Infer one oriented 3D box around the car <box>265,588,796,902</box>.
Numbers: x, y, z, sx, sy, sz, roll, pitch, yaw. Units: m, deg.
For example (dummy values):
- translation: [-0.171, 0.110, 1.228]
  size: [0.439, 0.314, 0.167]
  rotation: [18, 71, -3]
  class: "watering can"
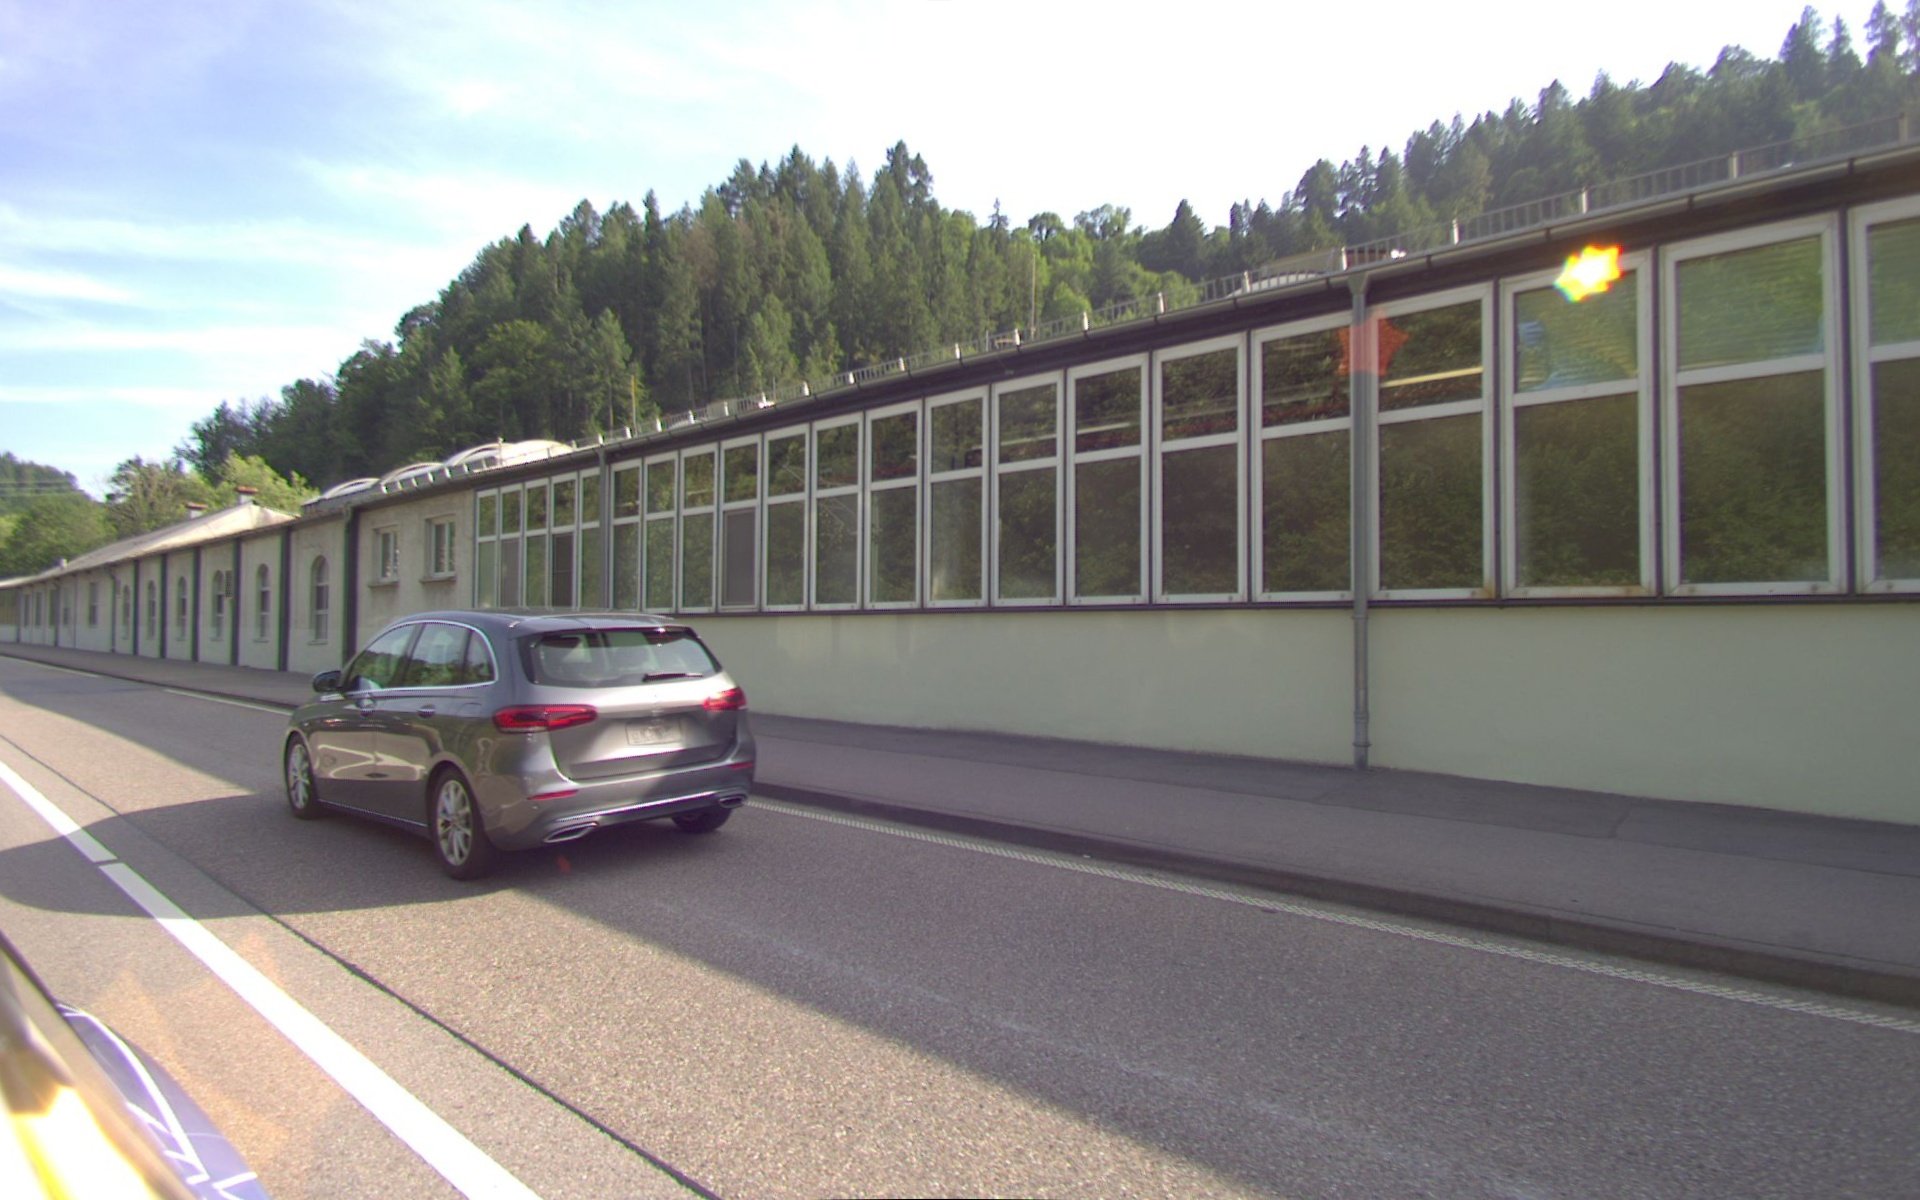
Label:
- translation: [-3.148, 0.736, 6.956]
  size: [4.196, 1.526, 1.701]
  rotation: [-1, 0, 41]
  class: "car"
